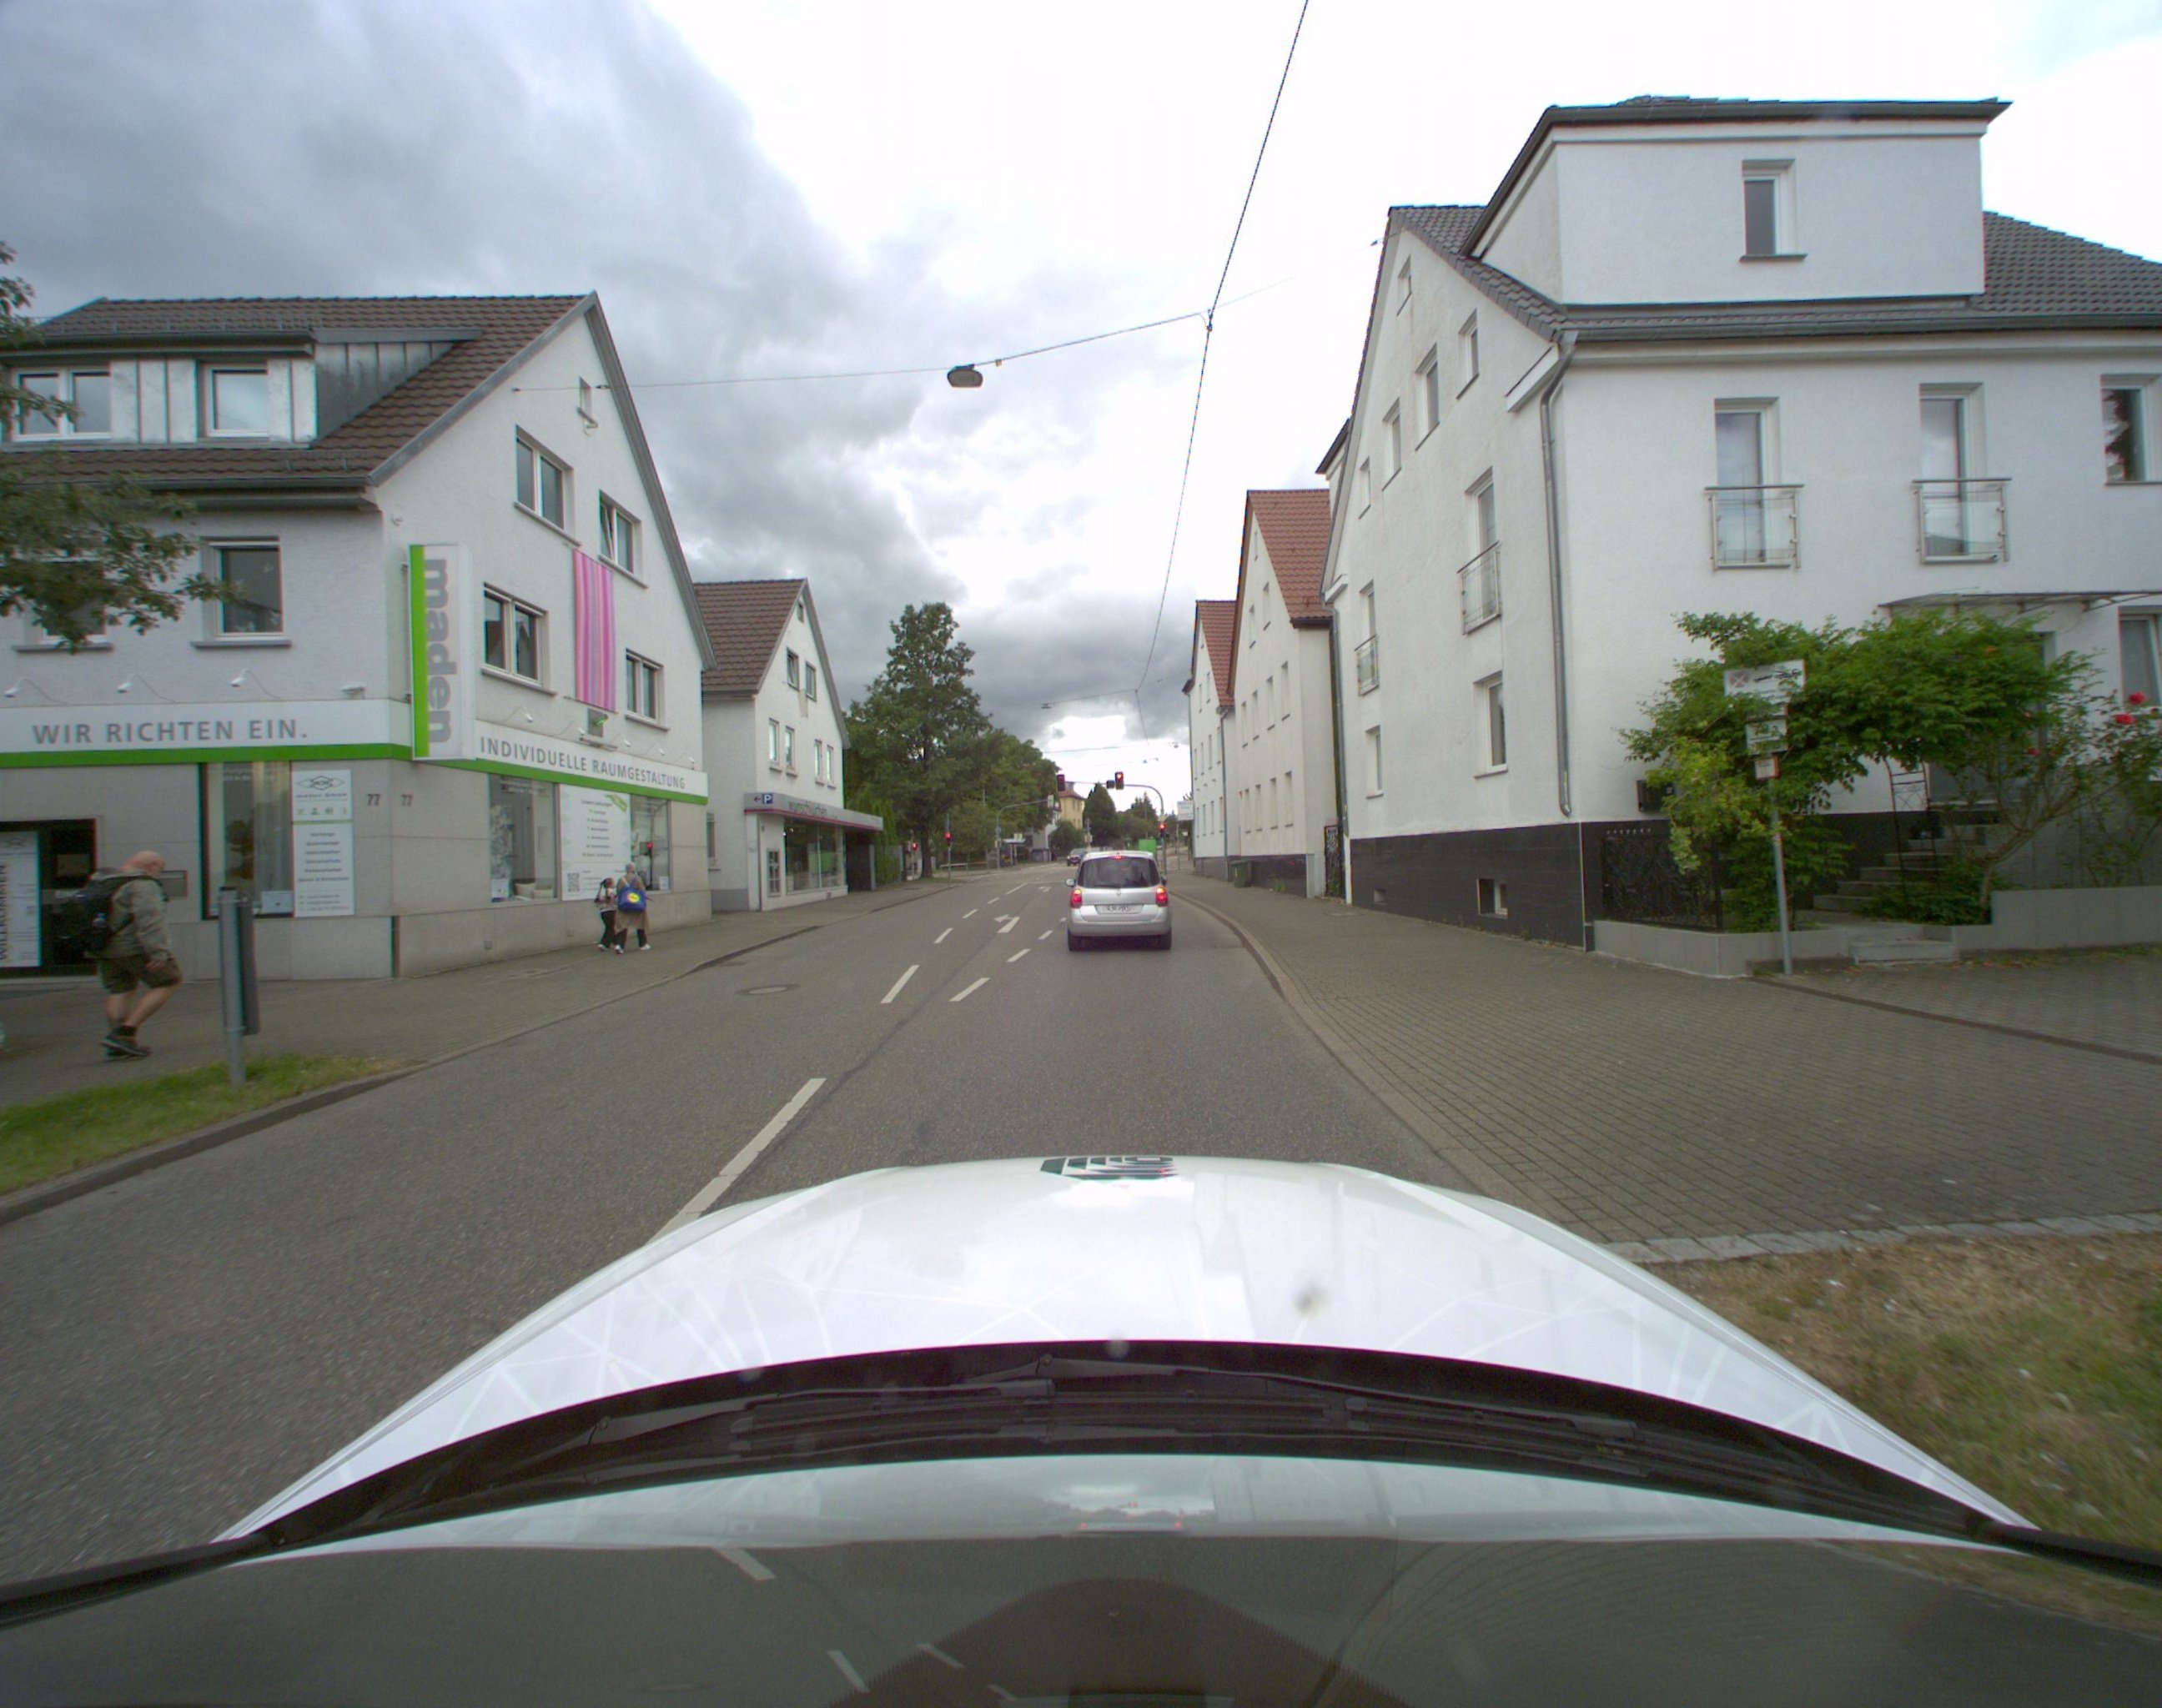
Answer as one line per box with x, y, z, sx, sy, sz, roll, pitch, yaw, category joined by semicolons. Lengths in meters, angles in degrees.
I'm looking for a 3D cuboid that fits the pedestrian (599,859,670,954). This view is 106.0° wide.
-7.873;0.902;14.387;0.749;1.617;0.793;1;0;0;pedestrian

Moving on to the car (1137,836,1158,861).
7.178;-0.554;87.018;2.049;2.512;5.605;-1;0;6;car

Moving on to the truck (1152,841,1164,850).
18.251;-1.921;192.533;2.088;2.013;5.765;-1;0;11;truck

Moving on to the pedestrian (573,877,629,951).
-8.604;1.065;14.615;0.597;1.279;0.655;0;0;0;pedestrian

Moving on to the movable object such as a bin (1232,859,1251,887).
5.603;0.665;28.447;0.538;0.941;0.487;-4;0;1;movable object such as a bin

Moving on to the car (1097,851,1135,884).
1.661;0.624;39.836;1.749;1.530;3.798;-1;0;1;car

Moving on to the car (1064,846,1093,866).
-0.243;0.192;80.461;1.913;1.773;4.013;-6;-1;12;car

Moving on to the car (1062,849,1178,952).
0.634;0.712;14.391;1.749;1.530;4.001;-1;0;1;car

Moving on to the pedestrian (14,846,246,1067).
-8.065;0.812;6.969;0.749;1.743;1.019;1;0;1;pedestrian

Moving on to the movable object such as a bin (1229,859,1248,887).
5.592;0.667;28.984;0.538;0.941;0.487;-4;0;1;movable object such as a bin
